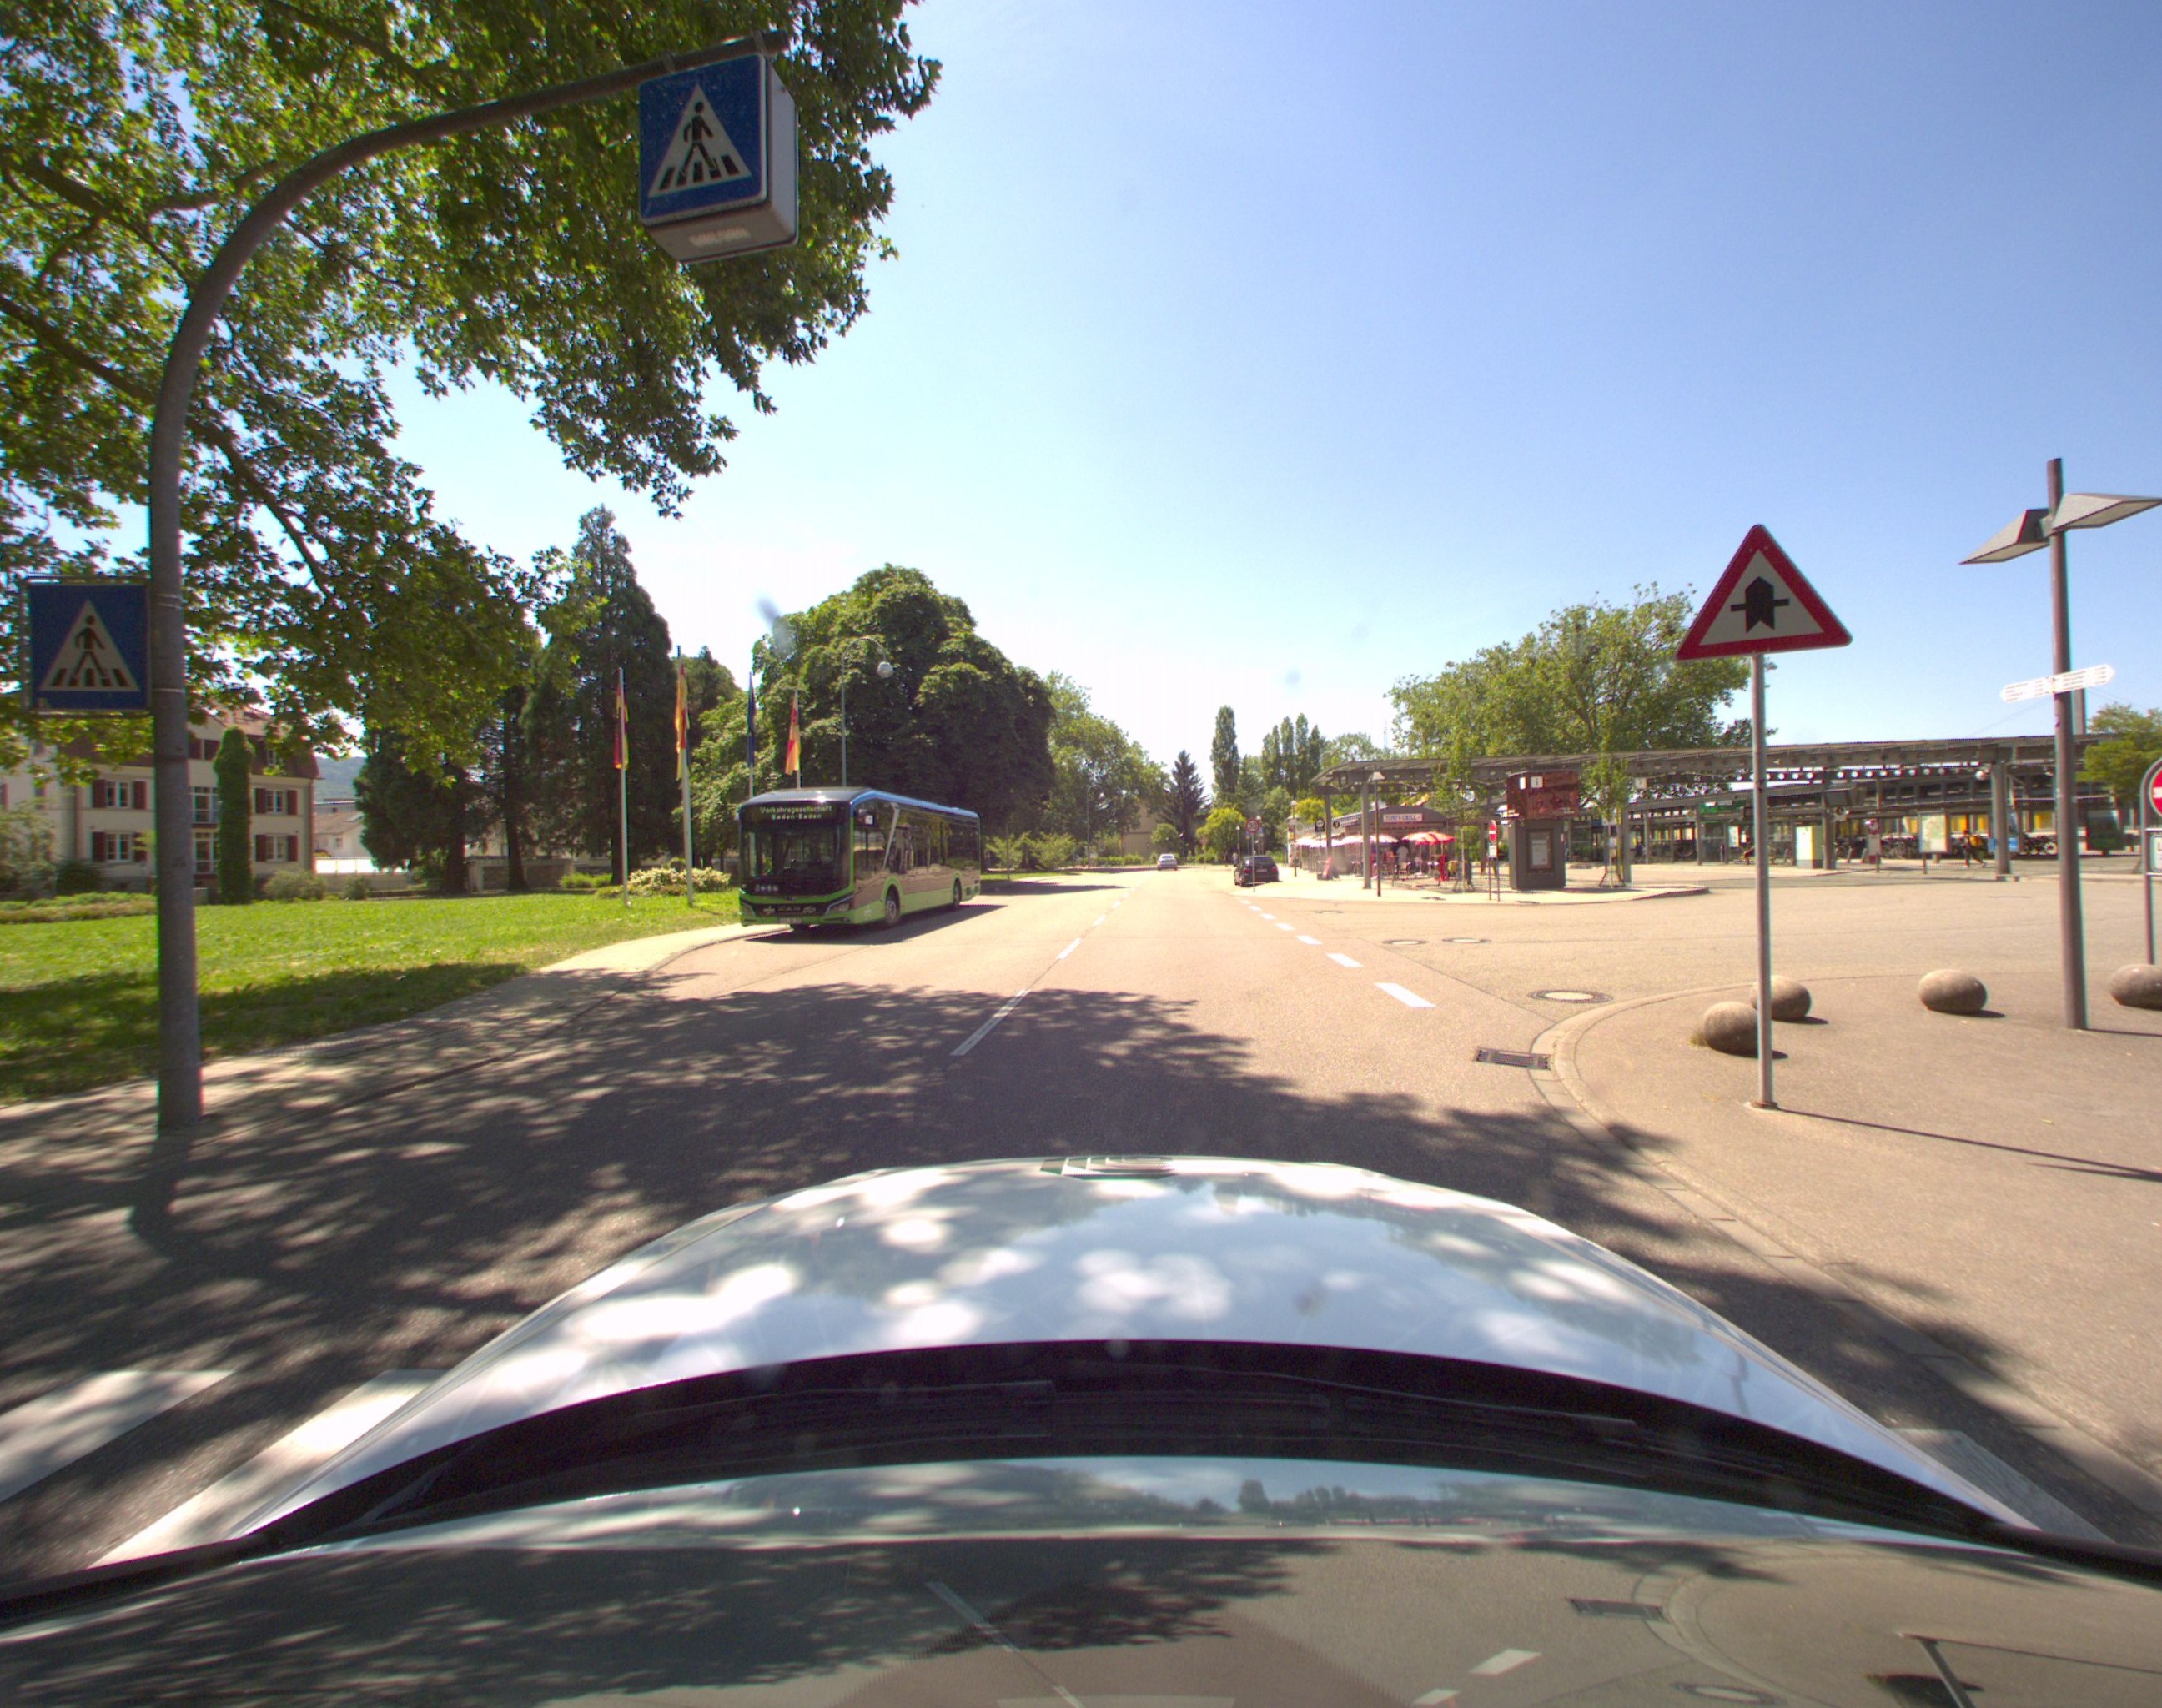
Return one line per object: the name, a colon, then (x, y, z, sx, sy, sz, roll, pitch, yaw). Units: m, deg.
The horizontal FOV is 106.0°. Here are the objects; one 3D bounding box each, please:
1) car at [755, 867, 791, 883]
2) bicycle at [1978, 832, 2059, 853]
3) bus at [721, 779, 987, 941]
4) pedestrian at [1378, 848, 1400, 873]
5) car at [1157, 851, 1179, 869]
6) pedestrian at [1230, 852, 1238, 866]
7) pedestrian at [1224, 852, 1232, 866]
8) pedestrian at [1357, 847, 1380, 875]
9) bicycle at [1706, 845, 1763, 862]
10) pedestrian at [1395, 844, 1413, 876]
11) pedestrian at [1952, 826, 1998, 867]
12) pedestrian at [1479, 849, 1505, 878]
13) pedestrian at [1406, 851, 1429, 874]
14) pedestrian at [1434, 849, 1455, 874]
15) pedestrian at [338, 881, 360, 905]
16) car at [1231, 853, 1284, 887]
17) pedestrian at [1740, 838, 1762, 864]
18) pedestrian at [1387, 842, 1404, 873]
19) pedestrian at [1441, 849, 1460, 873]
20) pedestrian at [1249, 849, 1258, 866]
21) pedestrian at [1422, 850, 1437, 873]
car: (-36.464, 2.433, 96.431, 1.856, 1.838, 4.017, 0, -1, 17)
bicycle: (46.328, -0.551, 40.267, 2.774, 1.004, 0.968, 1, -1, 3)
bus: (-5.418, 0.115, 22.996, 2.795, 3.283, 12.445, -1, 0, 6)
pedestrian: (16.343, 0.357, 43.228, 0.897, 1.312, 0.682, -1, 0, -29)
car: (8.819, 0.588, 82.181, 1.971, 1.627, 4.790, -2, 0, 9)
pedestrian: (18.167, 0.608, 96.760, 0.713, 1.650, 0.755, -2, -3, 34)
pedestrian: (17.215, 0.577, 95.490, 0.629, 1.650, 0.755, -2, -3, 34)
pedestrian: (14.734, 0.376, 41.780, 0.898, 1.418, 0.681, -1, -1, -32)
bicycle: (39.650, -0.012, 49.448, 2.774, 1.004, 0.812, 1, -1, 3)
pedestrian: (17.827, 0.310, 44.969, 0.683, 1.738, 0.708, -1, -1, 6)
pedestrian: (36.008, -0.305, 32.814, 0.921, 1.590, 0.855, -1, 0, -4)
pedestrian: (18.624, 0.413, 36.920, 0.840, 1.277, 0.897, -1, 0, 10)
pedestrian: (17.783, 0.449, 42.990, 0.897, 1.161, 0.682, -1, 0, -29)
pedestrian: (17.391, 0.357, 38.979, 0.682, 1.161, 0.897, -1, 0, 10)
pedestrian: (-43.163, 2.313, 48.033, 0.830, 1.371, 0.611, 1, -1, -34)
car: (8.662, 0.739, 40.269, 1.917, 1.460, 4.732, -4, -1, 5)
pedestrian: (36.349, -0.153, 44.186, 0.622, 1.395, 0.677, -3, -1, 5)
pedestrian: (17.936, 0.188, 46.453, 0.683, 1.738, 0.708, -1, -1, 6)
pedestrian: (19.306, 0.372, 42.557, 0.755, 1.205, 0.738, 1, -1, 6)
pedestrian: (21.139, 0.436, 99.730, 0.852, 1.965, 0.805, -1, 0, -4)
pedestrian: (19.163, 0.419, 44.781, 0.652, 1.205, 0.593, 1, -1, 5)
